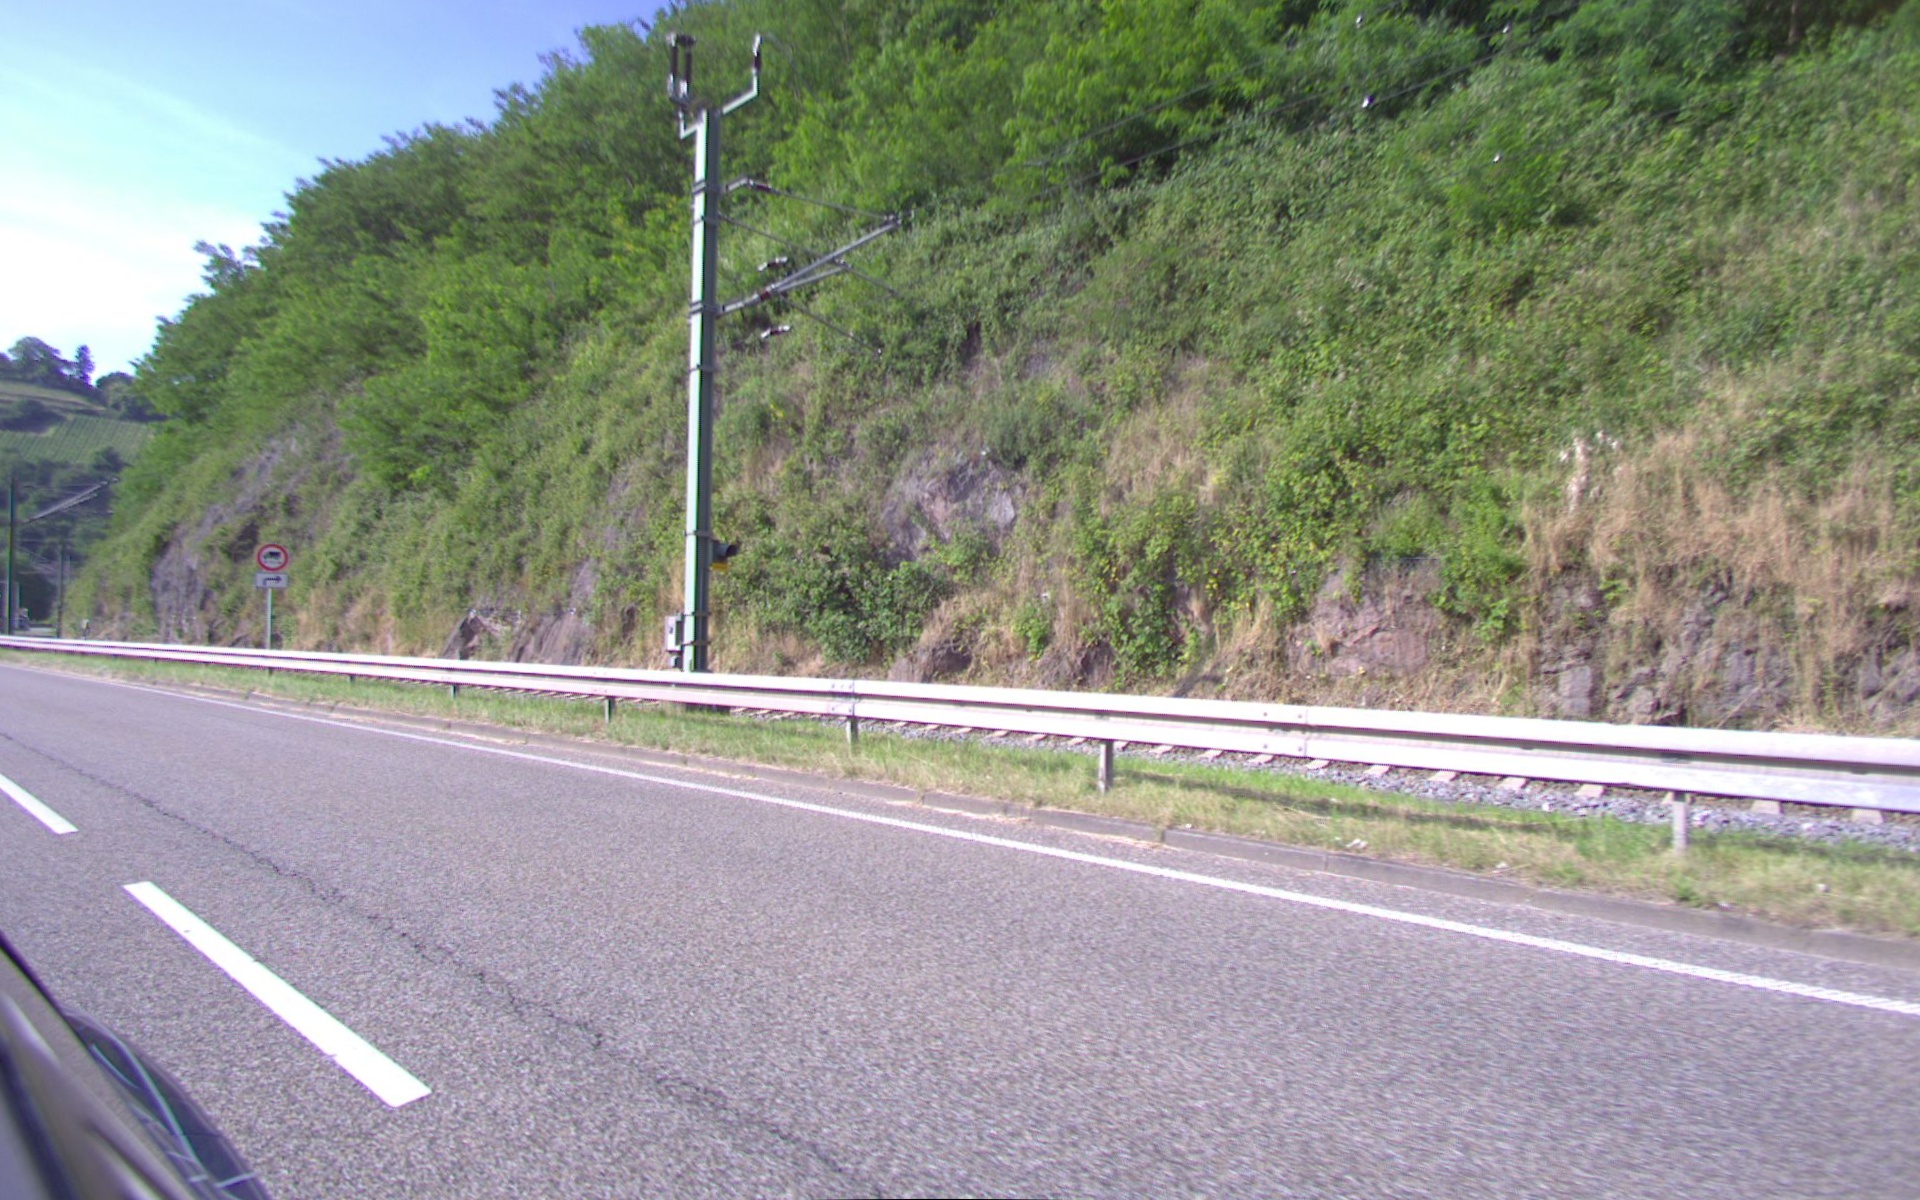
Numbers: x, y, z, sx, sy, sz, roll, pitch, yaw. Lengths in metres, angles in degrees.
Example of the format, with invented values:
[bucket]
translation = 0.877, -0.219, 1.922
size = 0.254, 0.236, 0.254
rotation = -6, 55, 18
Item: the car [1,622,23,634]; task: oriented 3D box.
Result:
[car]
translation = -129.330, 3.864, 138.142
size = 1.696, 1.582, 4.144
rotation = 1, -1, -36
